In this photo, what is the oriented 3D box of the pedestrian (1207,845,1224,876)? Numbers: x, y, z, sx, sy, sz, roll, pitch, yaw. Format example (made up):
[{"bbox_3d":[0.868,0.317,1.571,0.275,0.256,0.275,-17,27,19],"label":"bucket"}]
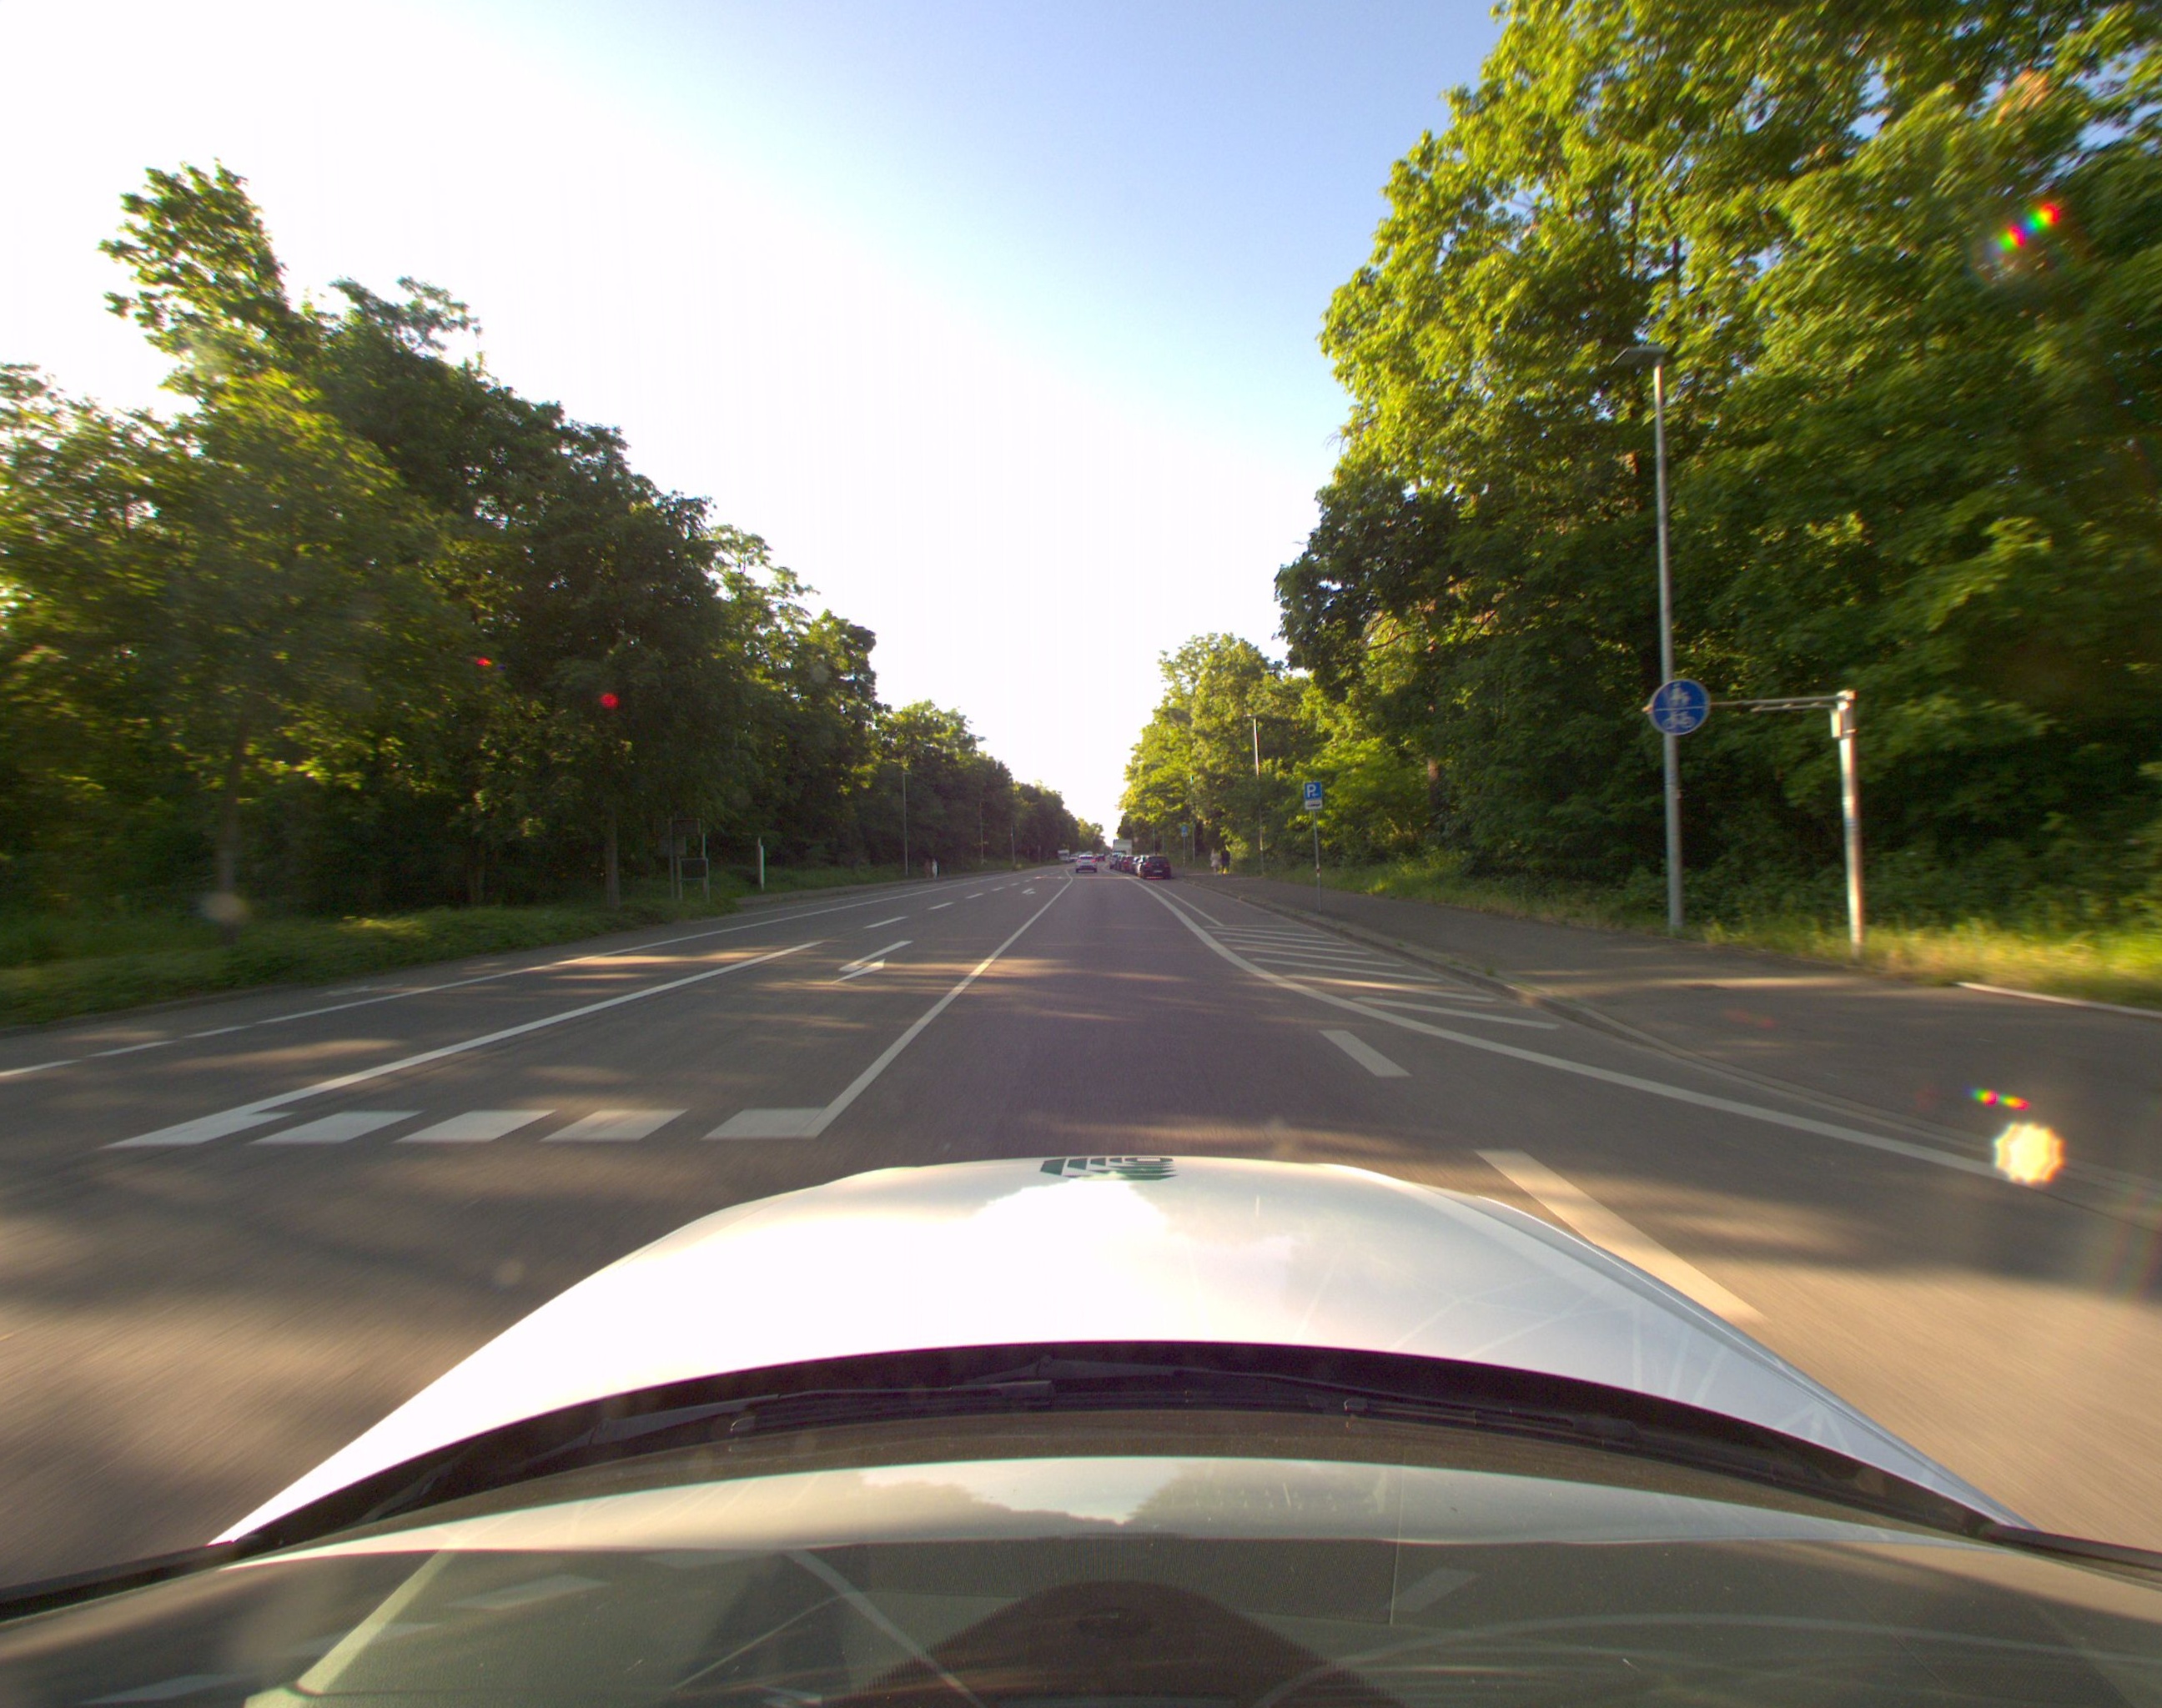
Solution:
[{"bbox_3d":[7.917,0.372,47.931,0.673,1.799,0.789,-4,0,-3],"label":"pedestrian"}]

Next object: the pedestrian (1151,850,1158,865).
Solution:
[{"bbox_3d":[8.739,0.406,96.941,0.615,1.764,0.907,-2,0,2],"label":"pedestrian"}]

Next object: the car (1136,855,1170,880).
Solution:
[{"bbox_3d":[4.532,0.795,51.490,1.652,1.452,4.018,-2,0,-1],"label":"car"}]

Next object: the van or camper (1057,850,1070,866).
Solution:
[{"bbox_3d":[-3.472,0.765,165.538,2.307,2.970,7.110,-4,0,0],"label":"van or camper"}]

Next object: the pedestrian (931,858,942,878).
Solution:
[{"bbox_3d":[-12.166,1.139,68.549,0.671,1.653,0.791,-2,0,6],"label":"pedestrian"}]

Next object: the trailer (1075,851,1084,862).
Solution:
[{"bbox_3d":[-0.399,0.697,221.345,1.985,2.597,4.419,-4,0,3],"label":"trailer"}]

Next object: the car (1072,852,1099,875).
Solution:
[{"bbox_3d":[0.405,0.786,70.113,2.020,1.840,4.032,-2,0,3],"label":"car"}]

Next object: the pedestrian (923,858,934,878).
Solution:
[{"bbox_3d":[-12.843,1.196,68.623,0.671,1.653,0.791,-2,0,6],"label":"pedestrian"}]

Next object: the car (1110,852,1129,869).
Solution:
[{"bbox_3d":[3.767,0.638,80.175,1.791,1.595,4.032,-2,0,3],"label":"car"}]

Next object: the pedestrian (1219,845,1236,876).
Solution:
[{"bbox_3d":[8.619,0.374,48.055,0.673,1.799,0.952,-4,0,-3],"label":"pedestrian"}]

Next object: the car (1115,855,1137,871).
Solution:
[{"bbox_3d":[4.003,0.773,72.897,1.590,1.401,3.796,-1,0,-2],"label":"car"}]

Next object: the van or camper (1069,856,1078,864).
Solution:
[{"bbox_3d":[-1.736,1.405,198.353,1.828,1.911,4.858,-3,0,2],"label":"van or camper"}]

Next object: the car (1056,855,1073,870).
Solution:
[{"bbox_3d":[-1.757,0.928,88.814,1.801,1.519,4.503,0,0,0],"label":"car"}]

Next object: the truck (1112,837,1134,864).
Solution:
[{"bbox_3d":[5.671,-0.456,111.195,2.822,3.497,8.581,-2,0,2],"label":"truck"}]

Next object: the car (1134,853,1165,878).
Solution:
[{"bbox_3d":[4.663,0.760,55.935,1.732,1.525,4.358,-2,0,-1],"label":"car"}]

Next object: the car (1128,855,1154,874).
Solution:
[{"bbox_3d":[4.509,0.786,61.439,1.623,1.319,3.839,-1,0,-1],"label":"car"}]

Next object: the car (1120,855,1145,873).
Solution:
[{"bbox_3d":[4.187,0.818,67.110,1.613,1.469,3.720,0,0,-3],"label":"car"}]

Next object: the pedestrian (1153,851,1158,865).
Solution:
[{"bbox_3d":[8.502,0.487,92.829,0.392,1.588,0.482,-2,0,2],"label":"pedestrian"}]

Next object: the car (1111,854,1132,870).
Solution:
[{"bbox_3d":[3.818,0.750,78.055,1.801,1.519,4.503,0,0,0],"label":"car"}]

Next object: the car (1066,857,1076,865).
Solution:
[{"bbox_3d":[-1.931,1.390,157.831,1.822,1.476,4.679,-3,0,0],"label":"car"}]
